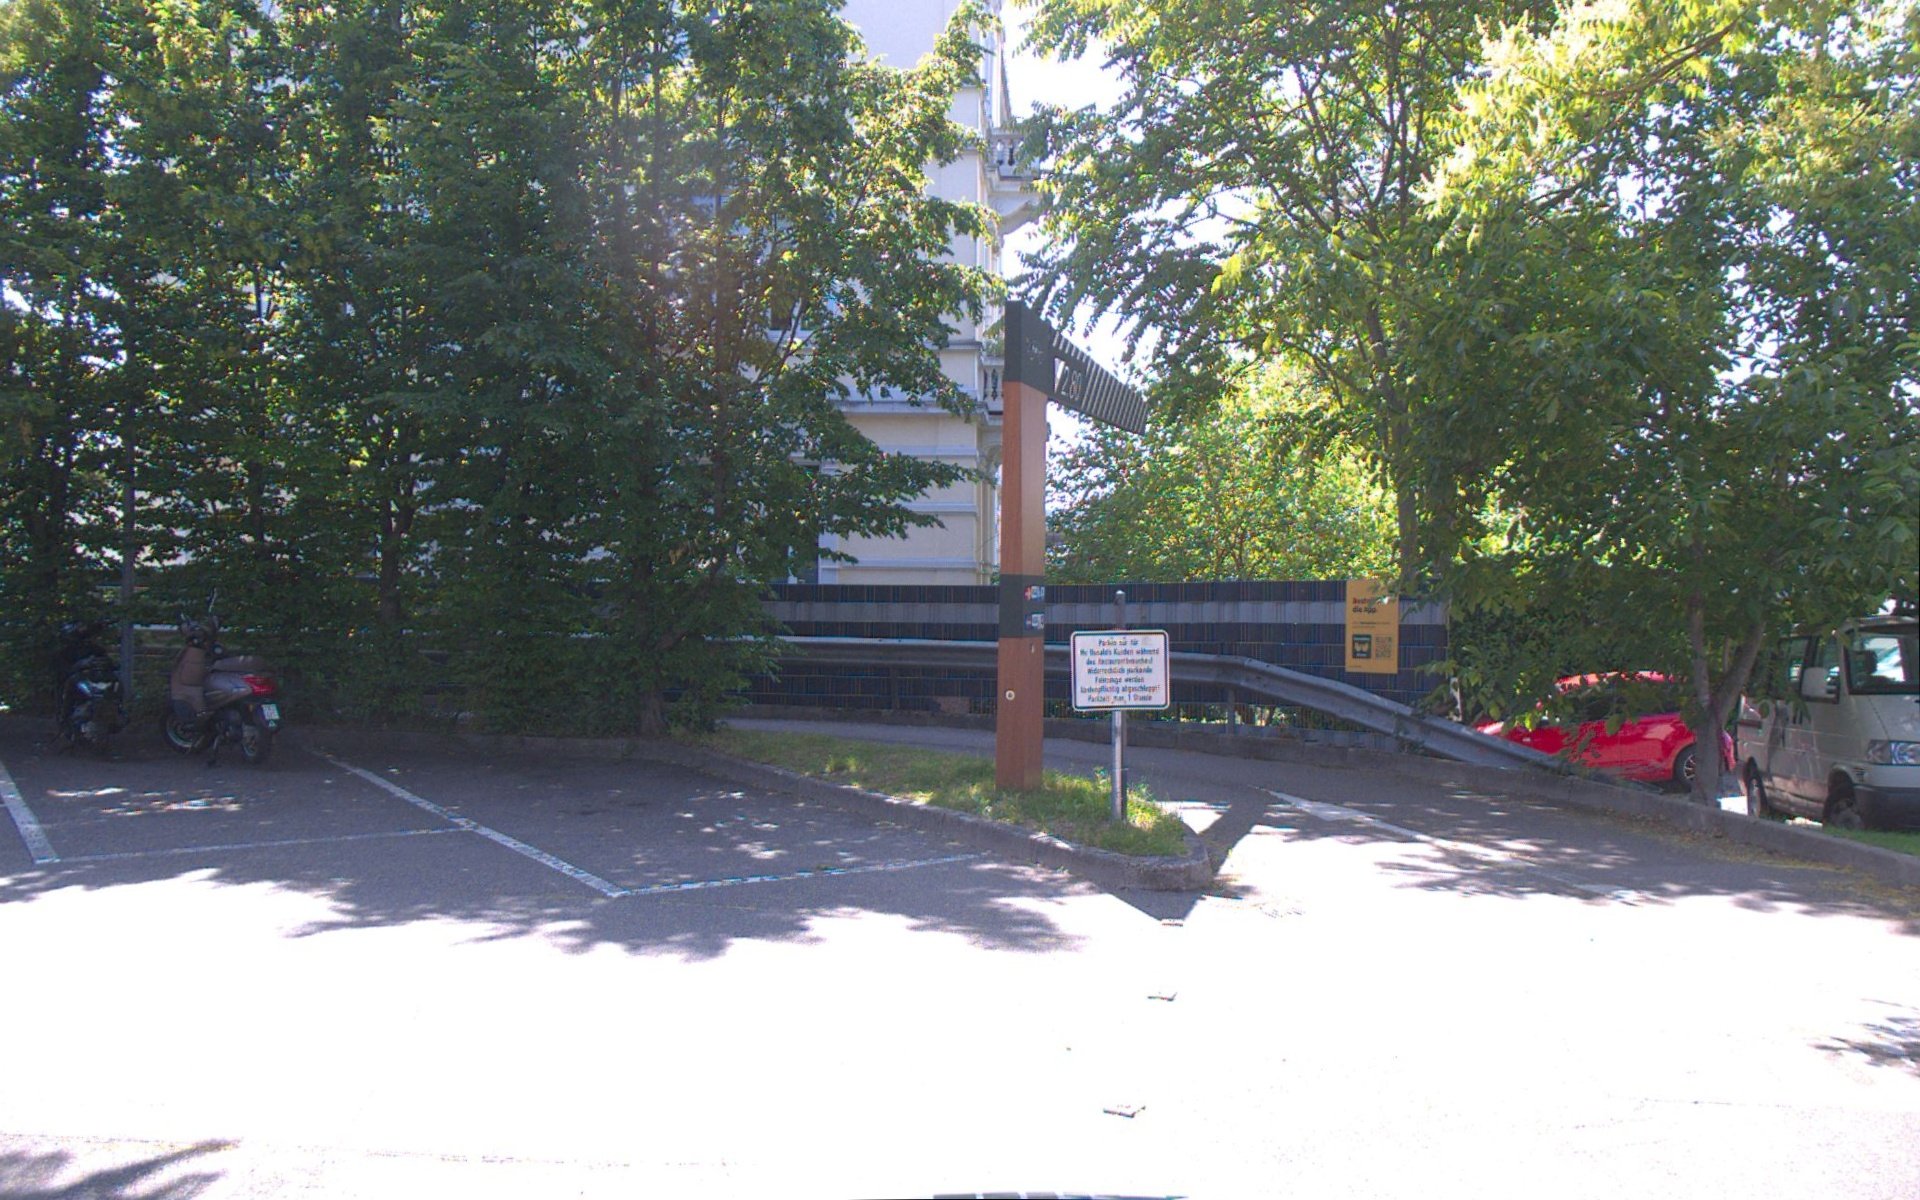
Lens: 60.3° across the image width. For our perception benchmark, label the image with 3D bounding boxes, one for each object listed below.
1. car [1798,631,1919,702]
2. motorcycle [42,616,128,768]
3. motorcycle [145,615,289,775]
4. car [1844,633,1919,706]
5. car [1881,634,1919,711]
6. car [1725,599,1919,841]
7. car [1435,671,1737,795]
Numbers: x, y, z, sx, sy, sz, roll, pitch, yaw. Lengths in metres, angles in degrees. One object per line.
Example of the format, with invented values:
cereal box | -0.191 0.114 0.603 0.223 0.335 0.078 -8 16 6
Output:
car | 25.127 1.798 44.073 4.545 1.756 1.999 2 -1 -2
motorcycle | -7.356 0.738 13.874 0.469 1.161 1.586 0 1 -34
motorcycle | -6.045 0.733 13.415 0.566 1.189 1.579 0 0 -44
car | 25.072 1.795 41.646 4.545 1.756 1.999 2 -1 -2
car | 24.542 1.777 39.008 4.545 1.756 1.999 2 -1 -2
car | 7.737 0.835 13.515 1.910 1.611 5.034 2 1 16
car | 7.894 1.659 21.081 3.331 1.402 1.488 0 1 7
